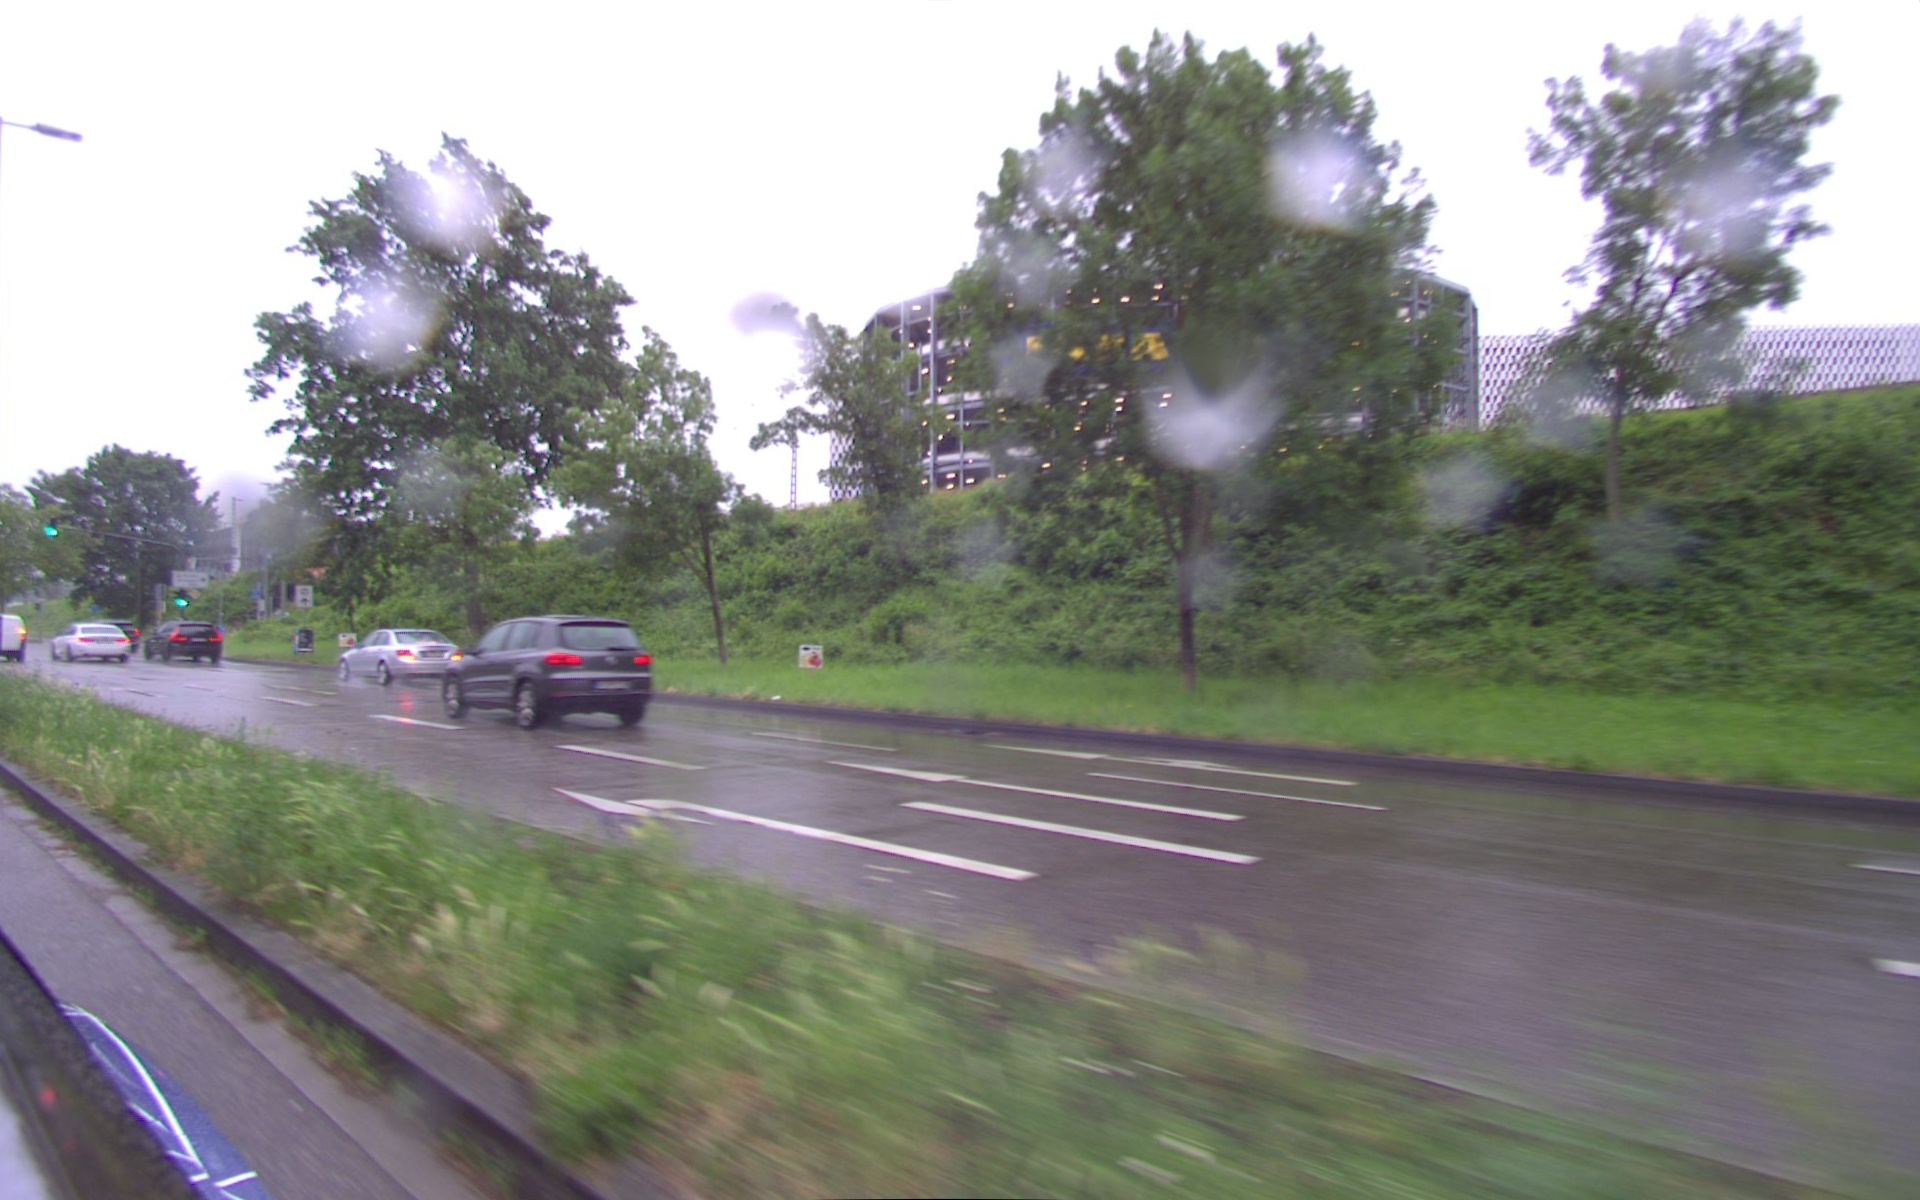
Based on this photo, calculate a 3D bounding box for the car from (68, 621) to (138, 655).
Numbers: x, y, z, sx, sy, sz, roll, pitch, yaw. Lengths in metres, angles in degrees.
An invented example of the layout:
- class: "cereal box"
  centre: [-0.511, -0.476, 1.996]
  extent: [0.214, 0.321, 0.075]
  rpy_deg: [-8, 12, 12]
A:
- class: "car"
  centre: [-42.724, 1.859, 50.422]
  extent: [4.402, 1.625, 1.879]
  rpy_deg: [-1, -2, 40]

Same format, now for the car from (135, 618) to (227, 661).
- class: "car"
  centre: [-32.158, 1.603, 41.722]
  extent: [4.674, 1.673, 2.017]
  rpy_deg: [-1, -2, 40]

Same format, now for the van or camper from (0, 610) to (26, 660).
- class: "van or camper"
  centre: [-35.928, 1.249, 37.231]
  extent: [3.996, 1.755, 1.711]
  rpy_deg: [-1, -4, 40]

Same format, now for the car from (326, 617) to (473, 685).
- class: "car"
  centre: [-14.811, 1.282, 26.648]
  extent: [4.474, 1.625, 1.879]
  rpy_deg: [-1, -2, 40]

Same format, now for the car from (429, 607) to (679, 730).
- class: "car"
  centre: [-6.274, 0.985, 15.454]
  extent: [4.110, 1.625, 1.878]
  rpy_deg: [-1, -4, 42]

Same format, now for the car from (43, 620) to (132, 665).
- class: "car"
  centre: [-33.948, 1.620, 39.337]
  extent: [4.708, 1.625, 1.879]
  rpy_deg: [-1, -4, 40]

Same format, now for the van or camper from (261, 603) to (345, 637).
- class: "van or camper"
  centre: [-54.451, 1.669, 84.100]
  extent: [1.975, 2.682, 6.918]
  rpy_deg: [1, -1, 5]
